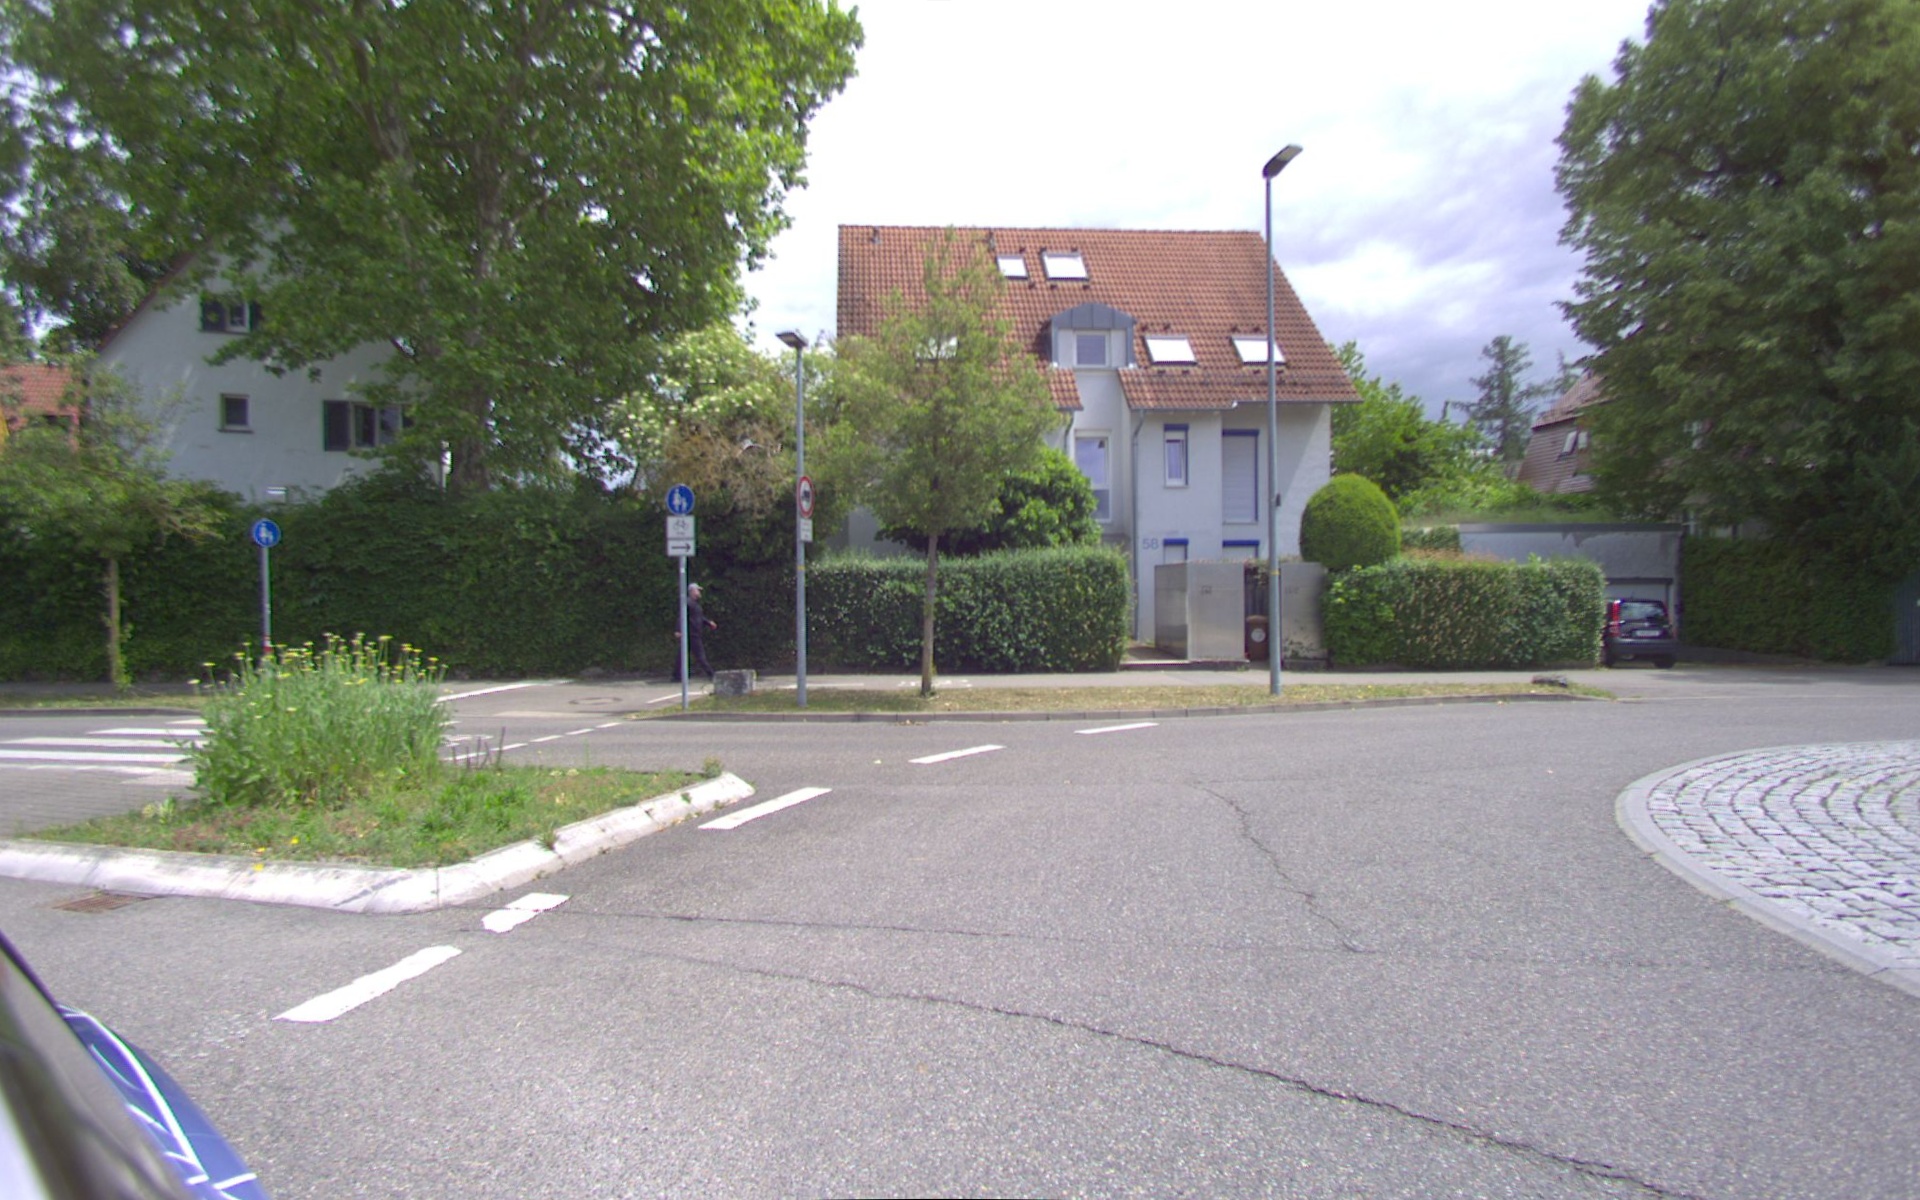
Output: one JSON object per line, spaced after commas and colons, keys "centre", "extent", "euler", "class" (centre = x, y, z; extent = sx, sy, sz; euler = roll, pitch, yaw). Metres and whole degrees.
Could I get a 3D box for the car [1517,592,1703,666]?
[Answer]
{"centre": [14.409, 0.620, 22.734], "extent": [1.977, 1.497, 3.990], "euler": [-1, -1, 8], "class": "car"}
